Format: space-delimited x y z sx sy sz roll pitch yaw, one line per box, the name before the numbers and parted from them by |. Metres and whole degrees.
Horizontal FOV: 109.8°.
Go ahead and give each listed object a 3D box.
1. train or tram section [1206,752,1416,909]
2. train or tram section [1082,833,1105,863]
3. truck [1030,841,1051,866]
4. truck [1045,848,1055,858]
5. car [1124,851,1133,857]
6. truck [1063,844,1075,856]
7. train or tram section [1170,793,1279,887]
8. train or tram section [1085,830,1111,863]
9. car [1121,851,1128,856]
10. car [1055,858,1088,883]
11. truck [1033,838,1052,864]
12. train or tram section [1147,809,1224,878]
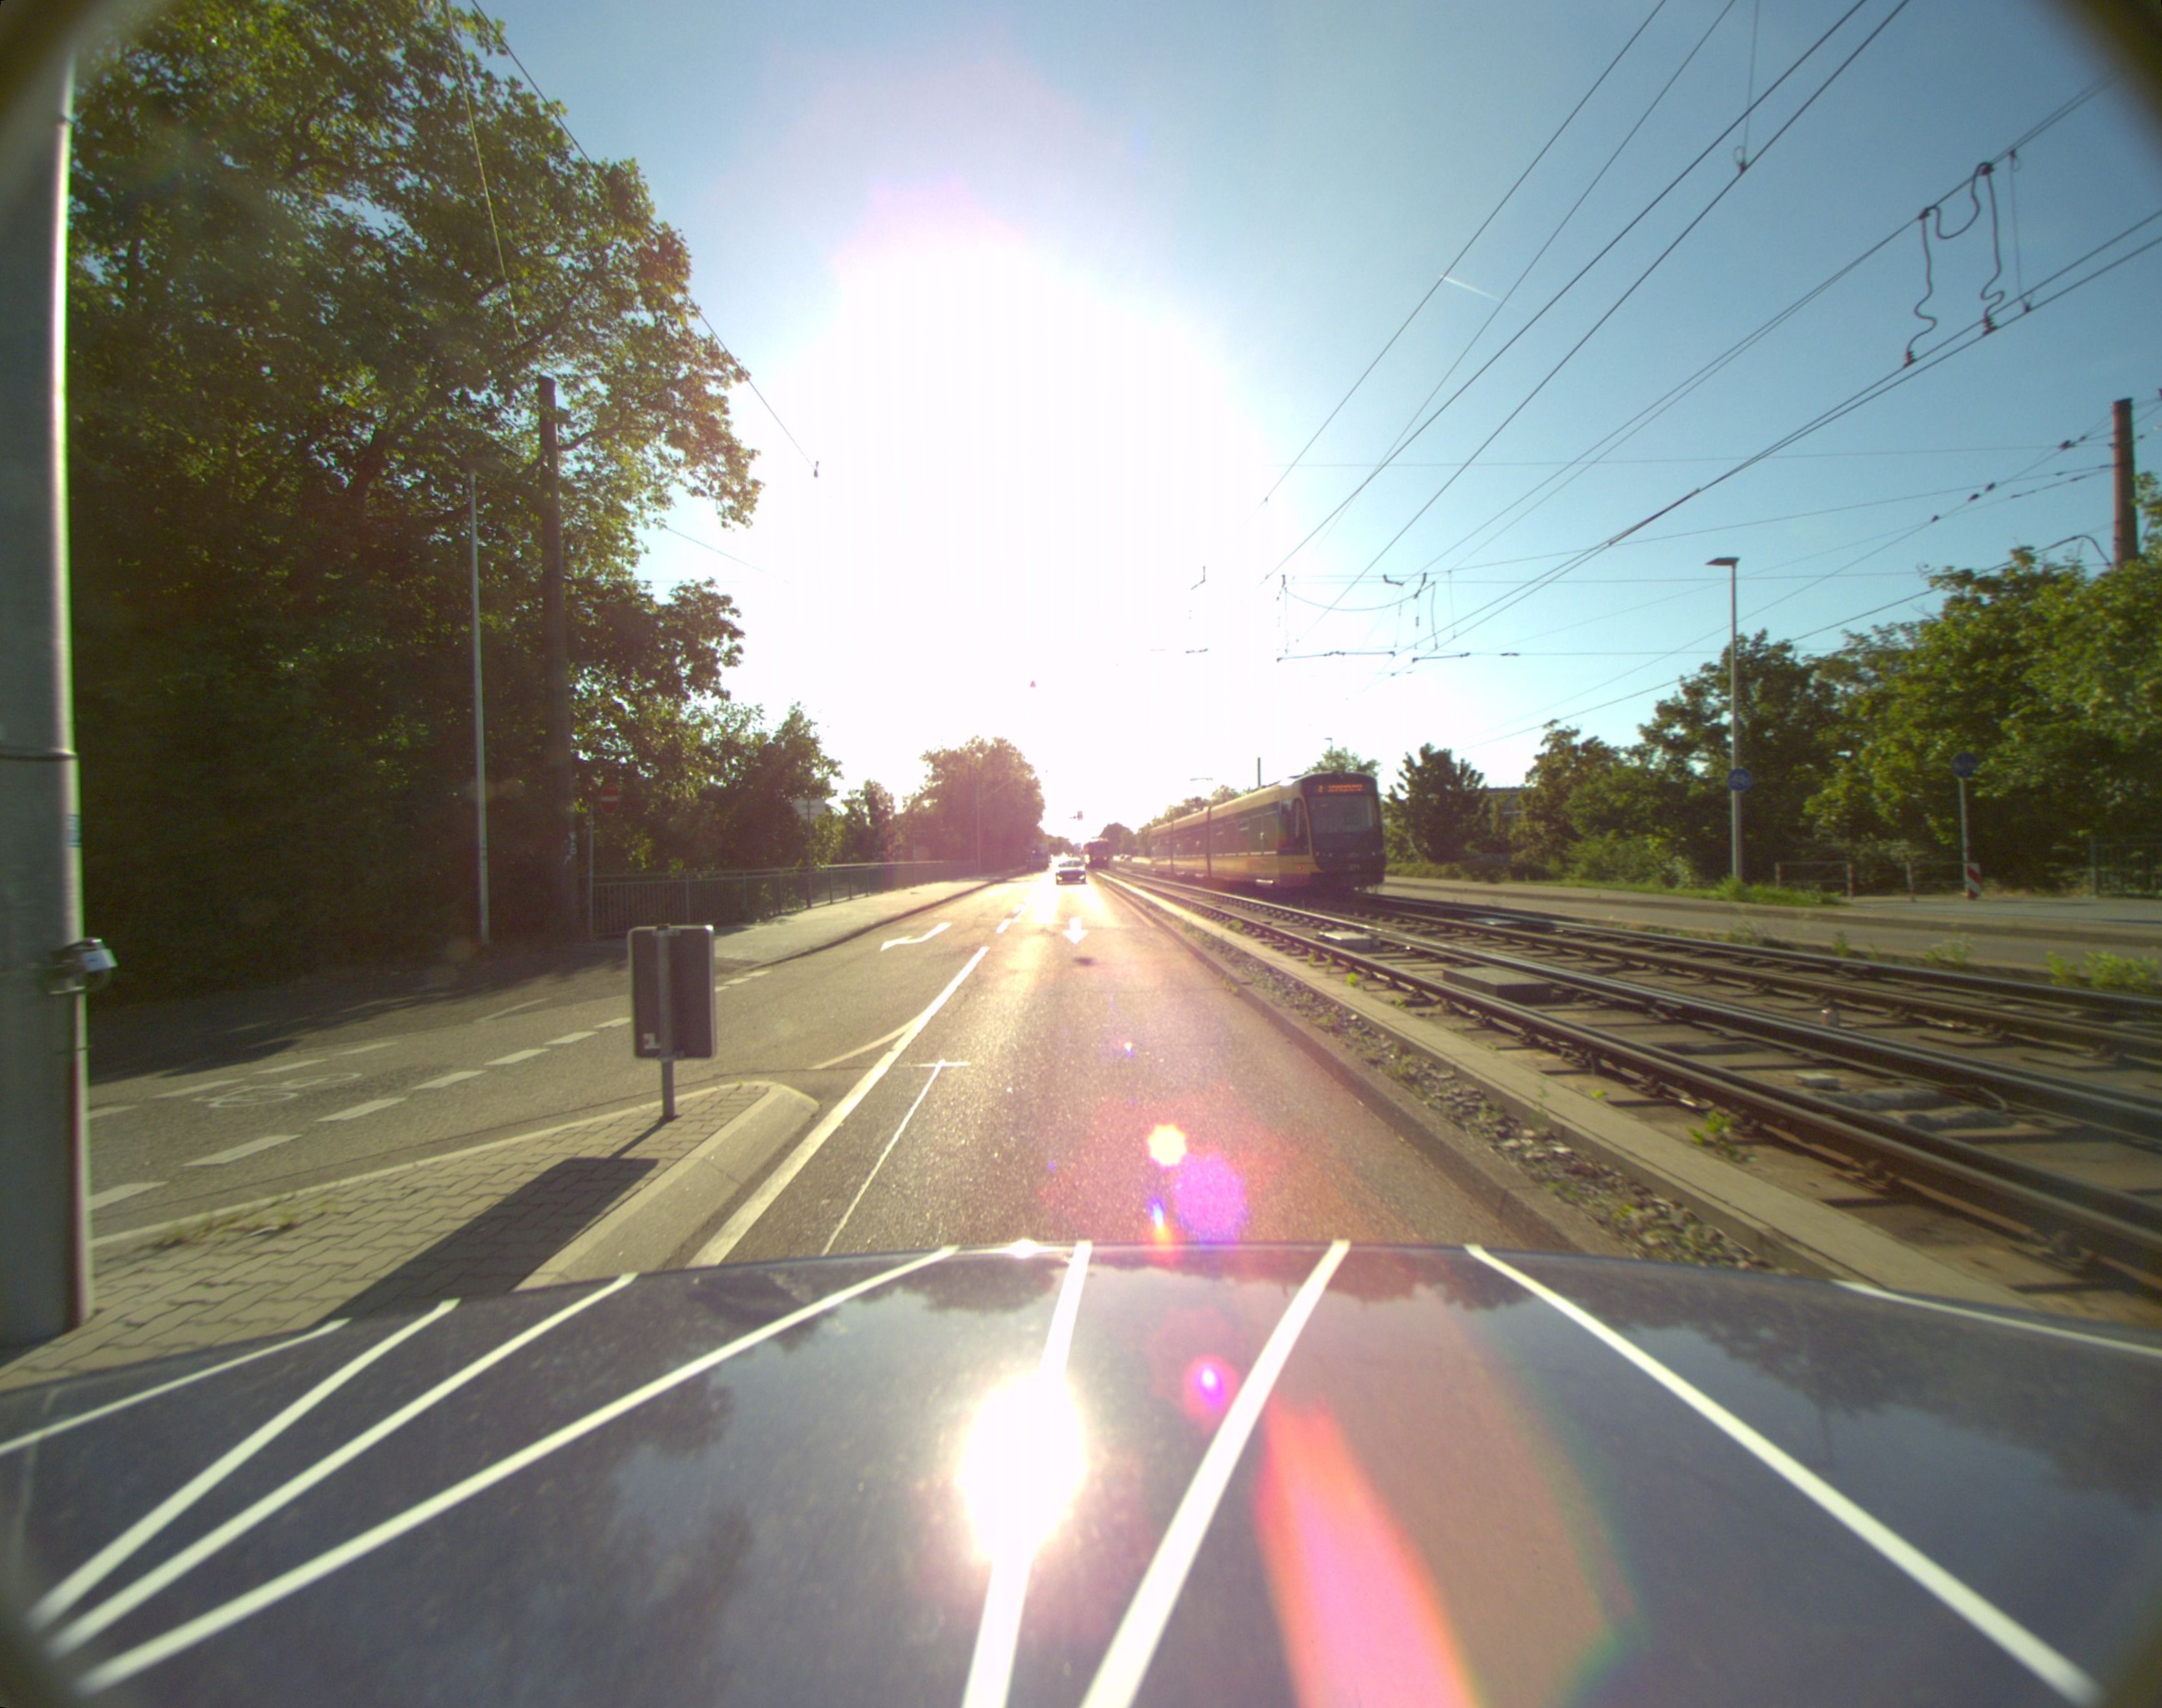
train or tram section | 6.885 -0.612 25.610 2.986 3.878 12.699 -2 0 -1
train or tram section | 1.734 -0.835 108.455 2.569 3.878 11.669 -2 0 -2
truck | -5.506 -0.061 104.496 2.610 3.185 7.869 -2 0 -1
truck | -6.850 -0.208 169.897 2.097 1.961 6.026 -1 0 0
car | 11.048 0.048 178.175 1.802 1.345 3.999 -3 1 -1
truck | -3.385 -1.039 220.649 3.314 3.283 15.320 -2 0 -1
train or tram section | 6.736 -0.610 37.818 2.984 3.878 11.663 -2 0 -1
train or tram section | 2.091 -0.929 96.603 2.569 3.878 11.669 -2 0 -2
car | 12.866 -0.246 226.218 1.802 1.345 3.999 -3 1 -1
car | -0.563 0.943 45.015 1.802 1.345 4.000 -1 0 -1
truck | -6.103 -0.456 121.098 2.559 3.826 7.869 -2 0 -1
train or tram section | 6.593 -0.640 50.150 3.012 3.878 13.079 -2 0 -1
